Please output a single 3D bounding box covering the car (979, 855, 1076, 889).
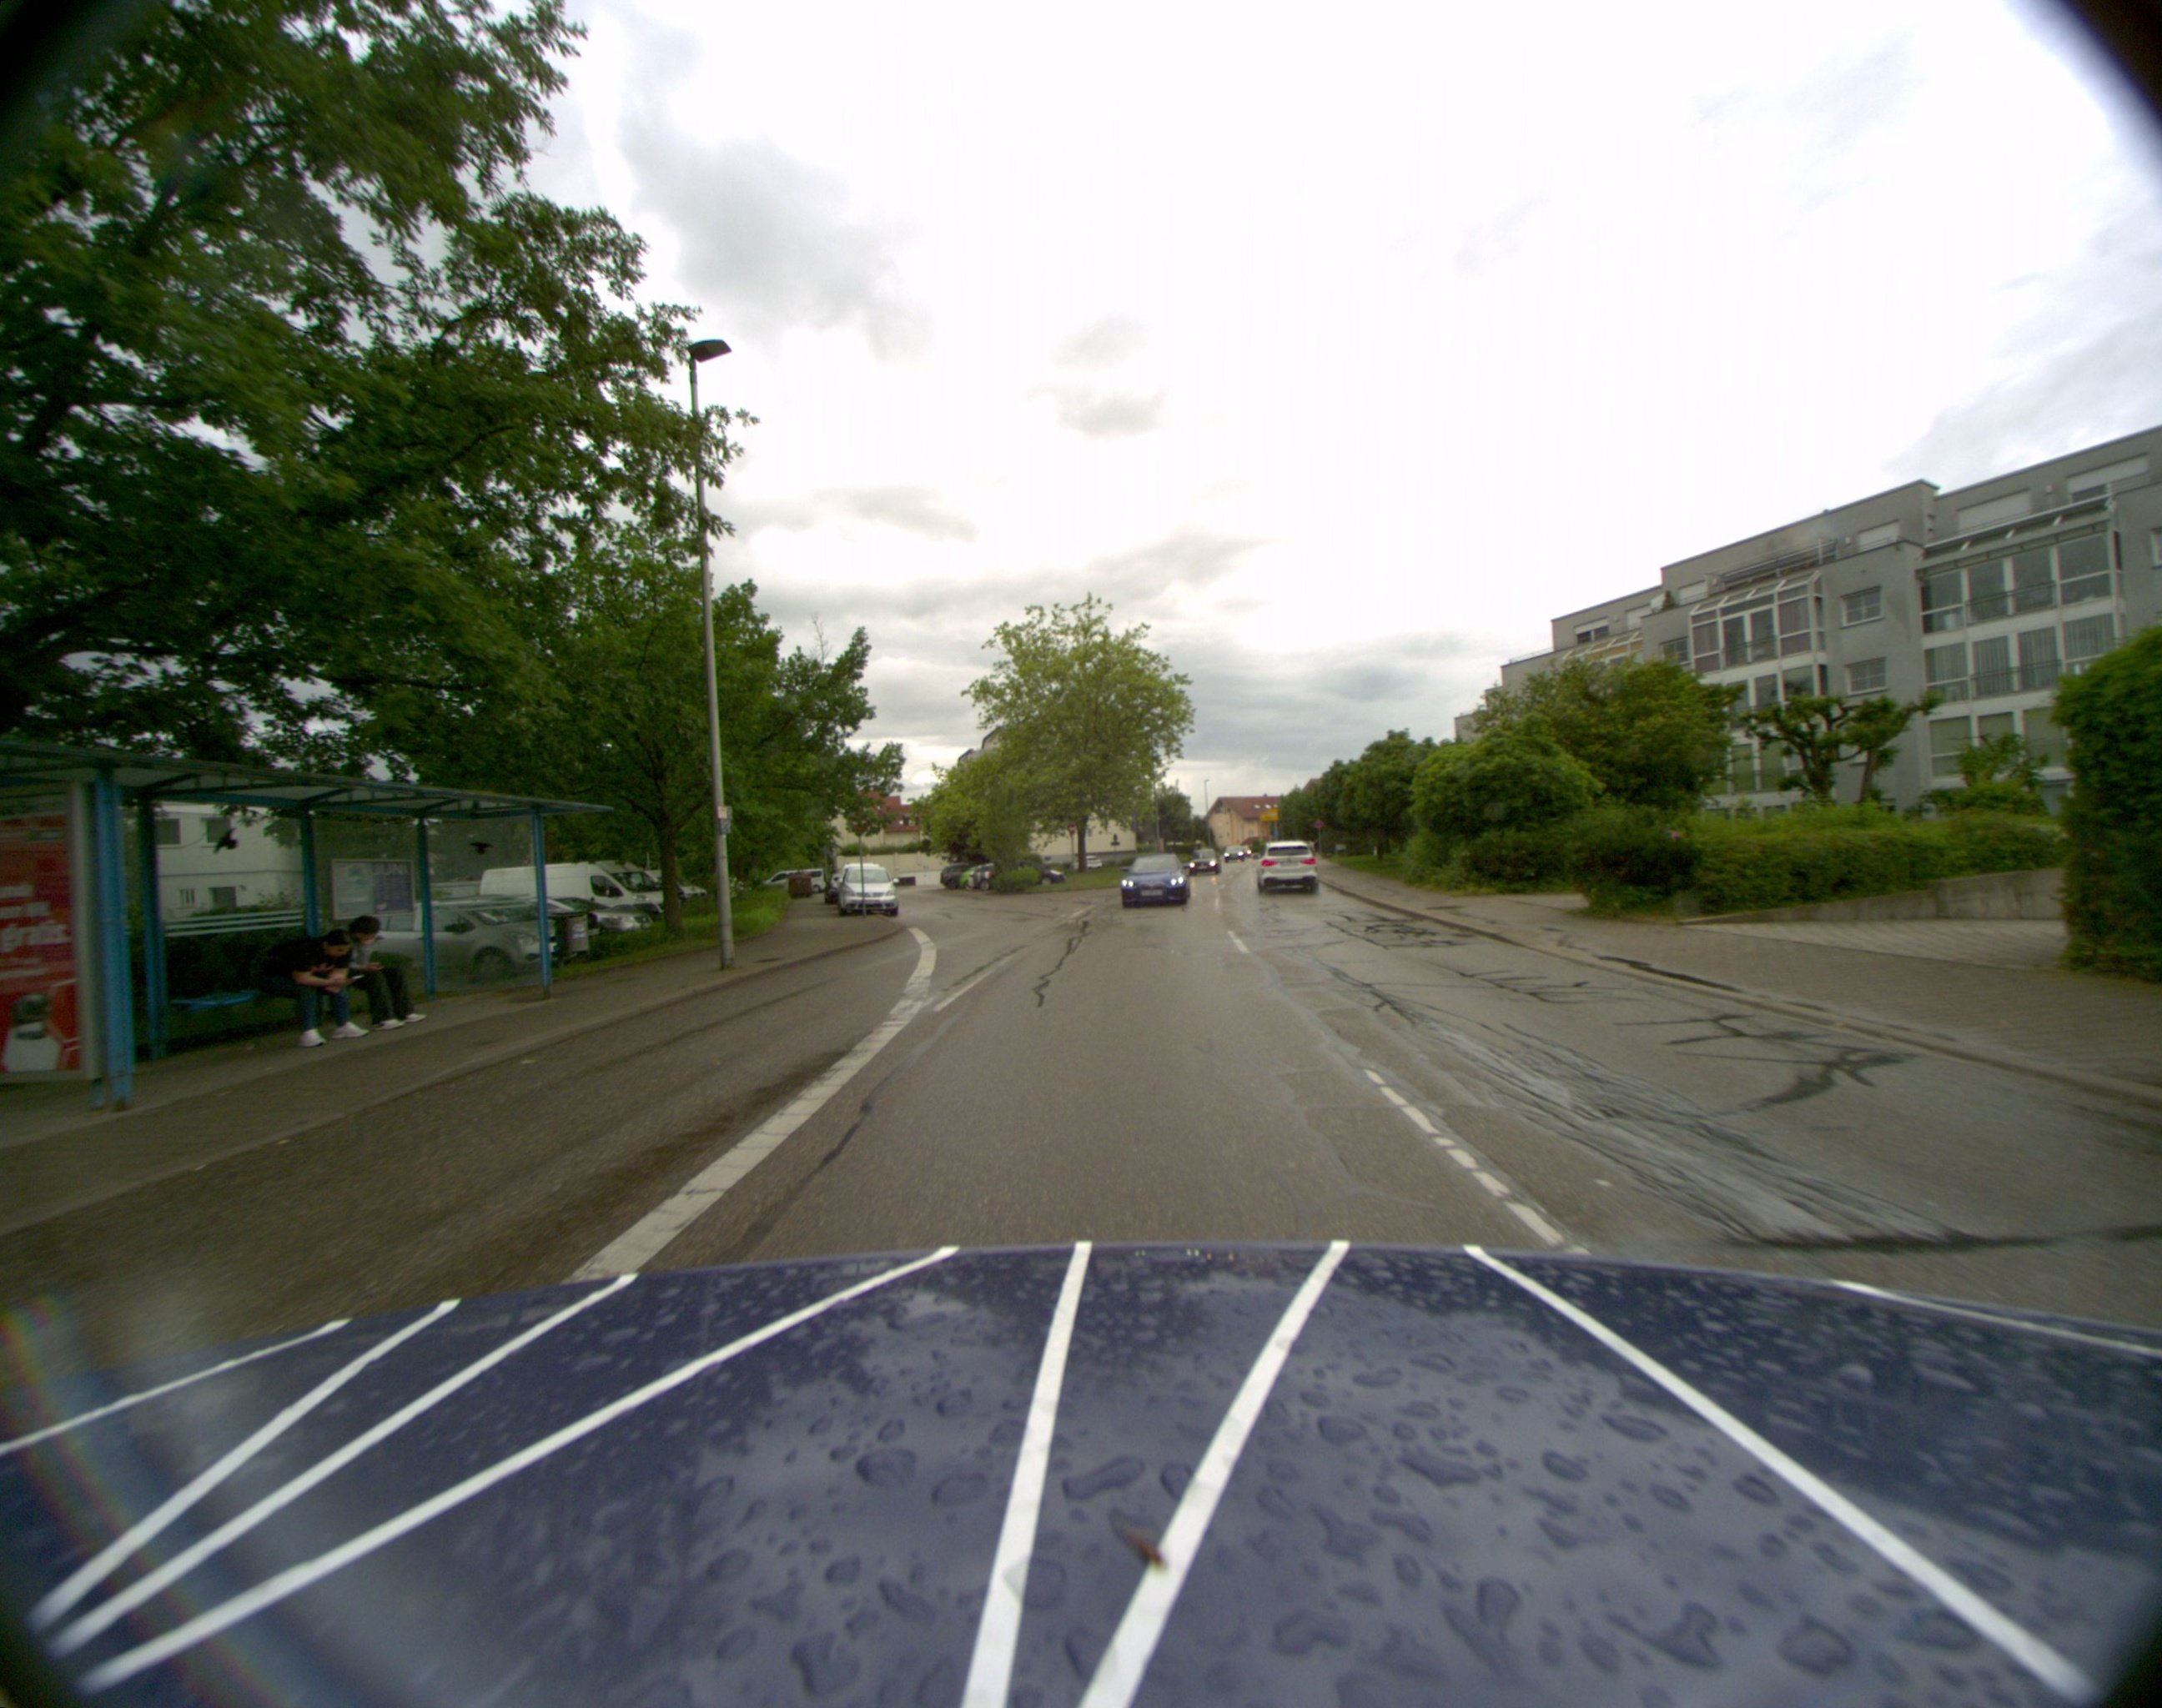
[{"bbox_3d":[-2.684,0.913,38.819,4.581,1.434,1.765,-3,1,9],"label":"car"}]

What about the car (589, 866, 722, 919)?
[{"bbox_3d":[-18.744,1.672,33.593,4.759,2.002,2.001,-3,1,7],"label":"car"}]

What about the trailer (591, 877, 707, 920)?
[{"bbox_3d":[-17.680,1.805,31.162,3.993,1.428,1.714,-4,1,15],"label":"trailer"}]

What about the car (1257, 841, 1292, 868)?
[{"bbox_3d":[11.279,0.007,44.466,1.743,1.406,4.145,-4,0,12],"label":"car"}]

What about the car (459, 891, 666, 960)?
[{"bbox_3d":[-13.285,1.811,19.662,4.041,1.329,1.733,-4,0,-3],"label":"car"}]

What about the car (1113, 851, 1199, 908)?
[{"bbox_3d":[2.383,0.698,22.955,1.911,1.425,4.304,-2,1,14],"label":"car"}]

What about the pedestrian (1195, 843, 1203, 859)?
[{"bbox_3d":[12.071,-0.318,77.634,0.591,1.656,0.775,-4,1,-2],"label":"pedestrian"}]

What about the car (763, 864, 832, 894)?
[{"bbox_3d":[-22.678,1.976,61.046,5.000,2.002,2.083,-4,0,-19],"label":"car"}]

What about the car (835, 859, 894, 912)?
[{"bbox_3d":[-8.686,1.203,30.493,2.001,1.870,4.207,-4,0,-16],"label":"car"}]

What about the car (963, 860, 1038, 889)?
[{"bbox_3d":[-4.692,1.173,44.619,4.017,1.434,1.765,-3,1,9],"label":"car"}]

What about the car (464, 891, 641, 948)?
[{"bbox_3d":[-15.654,1.927,22.636,3.996,1.288,1.852,-4,0,4],"label":"car"}]

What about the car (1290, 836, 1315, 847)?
[{"bbox_3d":[37.458,-2.076,128.382,1.740,1.592,3.992,-3,0,-27],"label":"car"}]

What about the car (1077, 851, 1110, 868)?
[{"bbox_3d":[1.192,0.563,73.989,1.748,1.472,3.762,-3,0,-22],"label":"car"}]

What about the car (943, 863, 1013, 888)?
[{"bbox_3d":[-6.553,1.348,48.408,4.017,1.363,1.765,-3,0,9],"label":"car"}]

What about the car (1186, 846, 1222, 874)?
[{"bbox_3d":[7.435,0.333,45.677,1.839,1.440,4.003,-4,0,12],"label":"car"}]

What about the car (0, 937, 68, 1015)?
[{"bbox_3d":[-22.967,2.623,14.945,1.694,1.501,3.820,-4,0,-19],"label":"car"}]

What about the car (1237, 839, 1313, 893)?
[{"bbox_3d":[6.747,0.342,26.923,1.894,1.602,4.867,-5,0,7],"label":"car"}]

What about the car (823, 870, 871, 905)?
[{"bbox_3d":[-10.931,1.511,35.338,1.767,1.374,4.180,-4,0,-21],"label":"car"}]

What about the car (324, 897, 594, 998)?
[{"bbox_3d":[-11.716,1.730,14.480,3.654,1.477,1.760,-4,0,4],"label":"car"}]

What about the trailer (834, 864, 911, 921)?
[{"bbox_3d":[-6.878,1.171,24.768,2.001,1.534,4.419,-4,0,-20],"label":"trailer"}]

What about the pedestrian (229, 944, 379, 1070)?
[{"bbox_3d":[-7.075,1.377,6.940,0.750,1.006,0.551,-4,1,6],"label":"pedestrian"}]

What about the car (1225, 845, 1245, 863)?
[{"bbox_3d":[15.262,-0.039,75.355,1.839,1.541,4.003,-4,0,11],"label":"car"}]

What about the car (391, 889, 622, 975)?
[{"bbox_3d":[-12.716,1.686,17.018,3.656,1.477,1.759,-4,0,-5],"label":"car"}]

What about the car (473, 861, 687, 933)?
[{"bbox_3d":[-16.630,1.407,25.390,5.833,2.002,2.000,-3,1,4],"label":"car"}]

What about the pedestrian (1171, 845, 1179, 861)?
[{"bbox_3d":[10.302,-0.122,83.066,0.615,1.762,0.670,-4,1,-10],"label":"pedestrian"}]

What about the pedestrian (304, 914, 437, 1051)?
[{"bbox_3d":[-7.099,1.264,7.615,0.728,1.243,0.551,-4,1,6],"label":"pedestrian"}]

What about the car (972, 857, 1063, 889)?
[{"bbox_3d":[-3.445,1.039,41.548,4.581,1.434,1.765,-3,1,9],"label":"car"}]
